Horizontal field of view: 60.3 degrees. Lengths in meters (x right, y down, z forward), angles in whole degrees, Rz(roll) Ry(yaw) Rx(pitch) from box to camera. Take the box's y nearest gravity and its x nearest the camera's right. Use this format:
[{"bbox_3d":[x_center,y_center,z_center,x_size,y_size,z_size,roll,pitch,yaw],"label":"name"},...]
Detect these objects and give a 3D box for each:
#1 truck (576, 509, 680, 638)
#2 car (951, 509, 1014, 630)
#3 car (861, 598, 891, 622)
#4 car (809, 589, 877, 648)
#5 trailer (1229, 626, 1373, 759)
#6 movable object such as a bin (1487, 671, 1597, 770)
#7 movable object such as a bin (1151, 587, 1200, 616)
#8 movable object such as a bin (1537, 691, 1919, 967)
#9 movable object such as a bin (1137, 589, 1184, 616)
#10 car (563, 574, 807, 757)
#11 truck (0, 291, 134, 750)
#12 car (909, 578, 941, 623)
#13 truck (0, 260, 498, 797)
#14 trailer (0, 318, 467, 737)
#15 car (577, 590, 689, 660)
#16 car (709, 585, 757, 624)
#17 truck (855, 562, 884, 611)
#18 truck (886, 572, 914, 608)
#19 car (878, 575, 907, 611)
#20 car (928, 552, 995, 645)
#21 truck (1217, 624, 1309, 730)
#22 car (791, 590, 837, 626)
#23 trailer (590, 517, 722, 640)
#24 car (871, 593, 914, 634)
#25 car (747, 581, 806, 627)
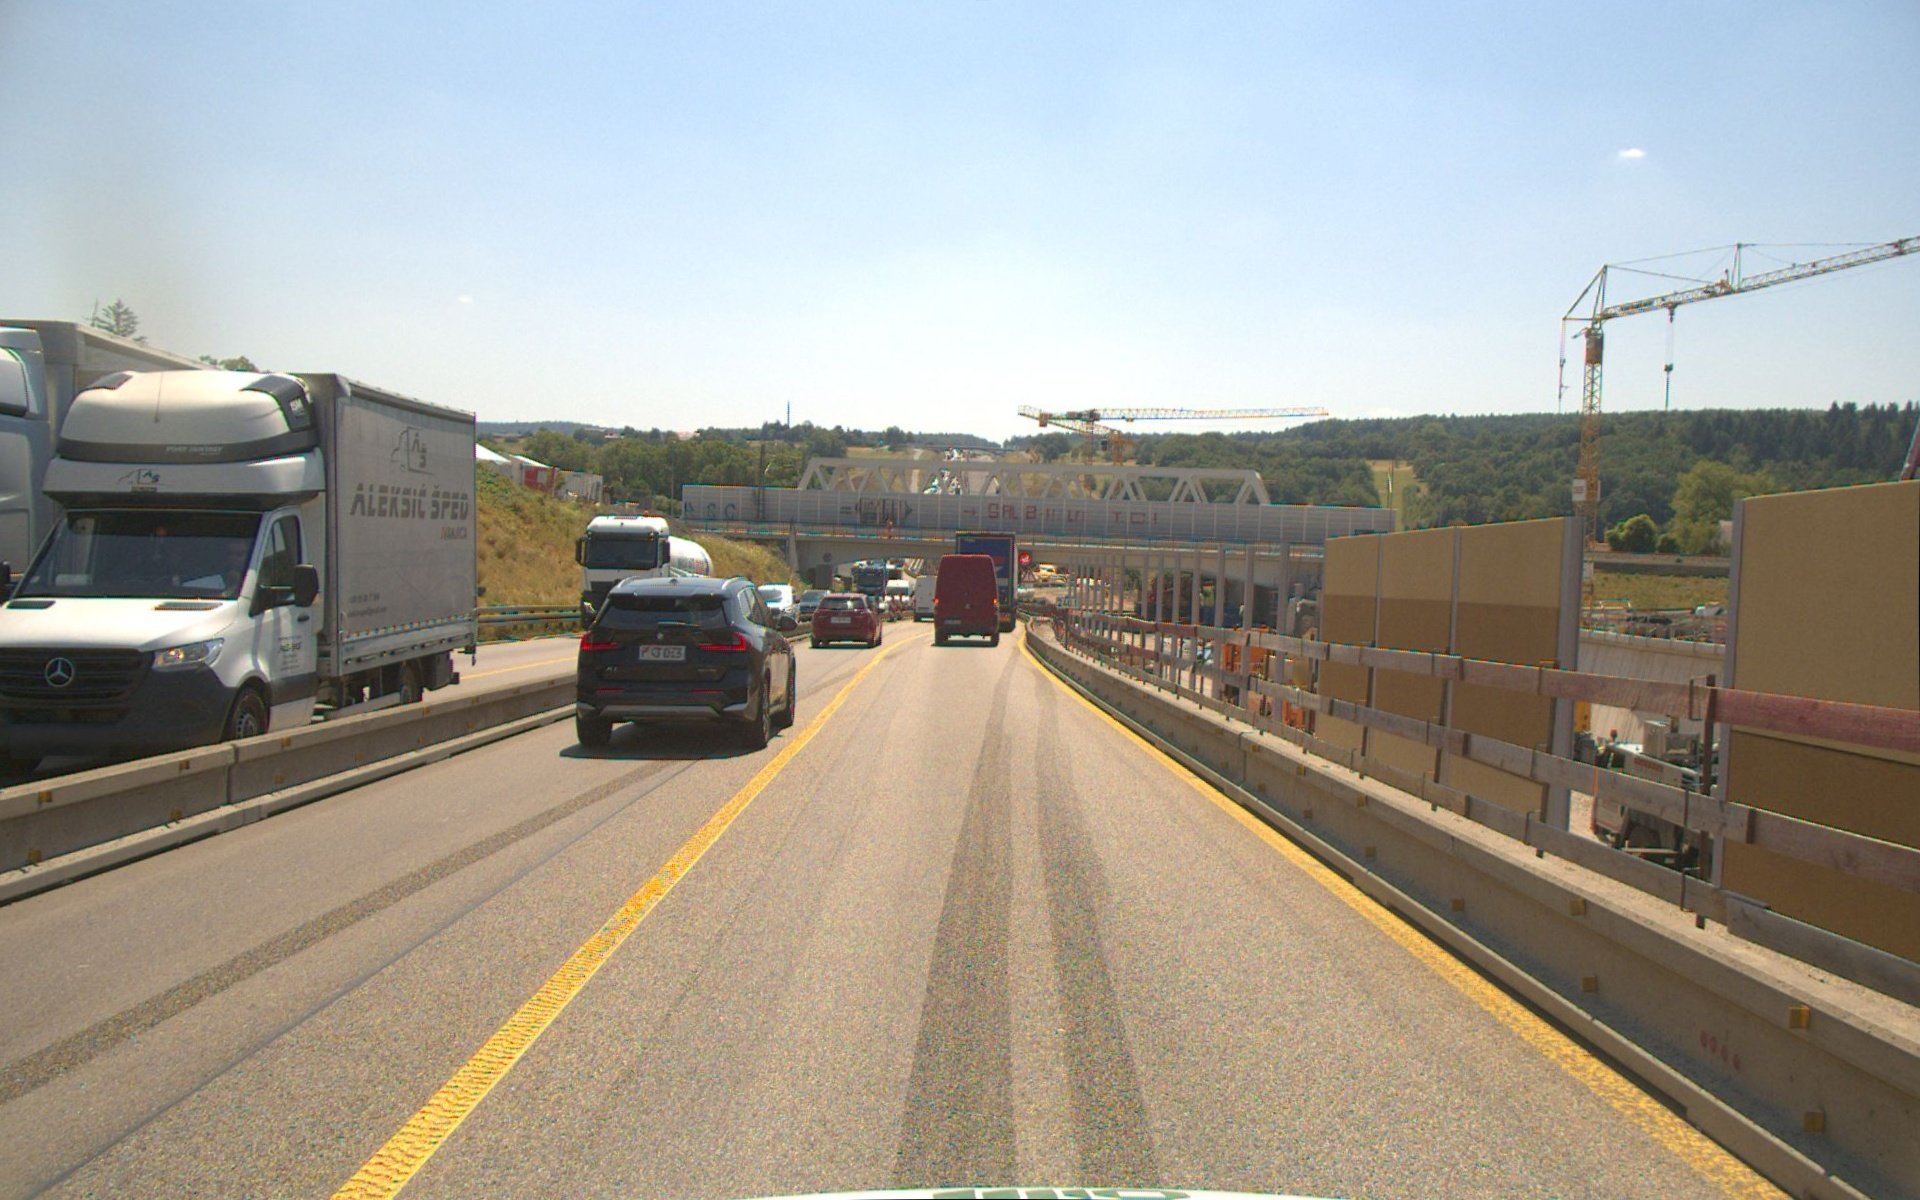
[{"bbox_3d":[-10.470,-0.827,52.460,2.537,3.868,3.766,1,0,-1],"label":"truck"},{"bbox_3d":[0.915,-1.342,75.144,2.567,5.120,10.395,0,0,-1],"label":"car"},{"bbox_3d":[-5.478,0.664,108.241,1.764,1.472,4.636,1,0,-1],"label":"car"},{"bbox_3d":[-3.217,0.485,46.109,1.740,1.544,4.204,0,1,-2],"label":"car"},{"bbox_3d":[12.230,3.132,60.658,2.702,3.954,13.050,1,0,1],"label":"trailer"},{"bbox_3d":[20.831,4.254,59.427,2.233,3.076,4.821,3,0,1],"label":"movable object such as a bin"},{"bbox_3d":[22.853,0.159,175.806,5.038,2.856,2.144,1,0,5],"label":"movable object such as a bin"},{"bbox_3d":[13.615,3.753,29.730,2.906,3.548,9.149,3,0,-2],"label":"movable object such as a bin"},{"bbox_3d":[22.056,0.293,182.027,5.038,2.856,2.144,1,0,5],"label":"movable object such as a bin"},{"bbox_3d":[-2.700,0.571,17.223,1.841,1.646,4.498,0,1,-1],"label":"car"},{"bbox_3d":[-9.968,-0.736,15.293,2.643,4.120,3.954,1,0,-1],"label":"truck"},{"bbox_3d":[-1.985,0.019,94.034,1.740,2.484,4.205,0,0,-1],"label":"car"},{"bbox_3d":[-6.610,-0.552,15.553,2.537,3.824,7.357,1,0,-1],"label":"truck"},{"bbox_3d":[-10.141,-0.792,23.048,2.643,4.095,13.699,1,0,-1],"label":"trailer"},{"bbox_3d":[-7.482,0.546,38.275,1.743,1.483,4.719,1,0,-1],"label":"car"},{"bbox_3d":[-10.656,0.182,77.815,1.754,1.793,4.536,0,0,-2],"label":"car"},{"bbox_3d":[-7.796,-1.181,142.508,2.310,4.085,3.998,1,0,-2],"label":"truck"},{"bbox_3d":[-6.721,-1.149,186.159,2.777,3.919,12.910,1,0,-1],"label":"truck"},{"bbox_3d":[-5.182,-0.548,128.285,1.953,2.652,7.010,1,0,0],"label":"car"},{"bbox_3d":[0.083,-0.072,50.926,1.947,2.737,4.624,0,0,1],"label":"car"},{"bbox_3d":[12.360,3.071,67.941,2.702,3.954,5.882,1,0,1],"label":"truck"},{"bbox_3d":[-6.976,0.351,79.432,1.754,1.639,4.733,1,0,0],"label":"car"},{"bbox_3d":[-10.528,-0.726,58.544,2.537,3.868,11.916,1,0,-1],"label":"trailer"},{"bbox_3d":[-2.909,0.555,71.949,1.802,1.683,4.164,0,1,-1],"label":"car"},{"bbox_3d":[-7.265,0.139,65.760,1.841,1.775,4.482,0,0,0],"label":"car"}]
